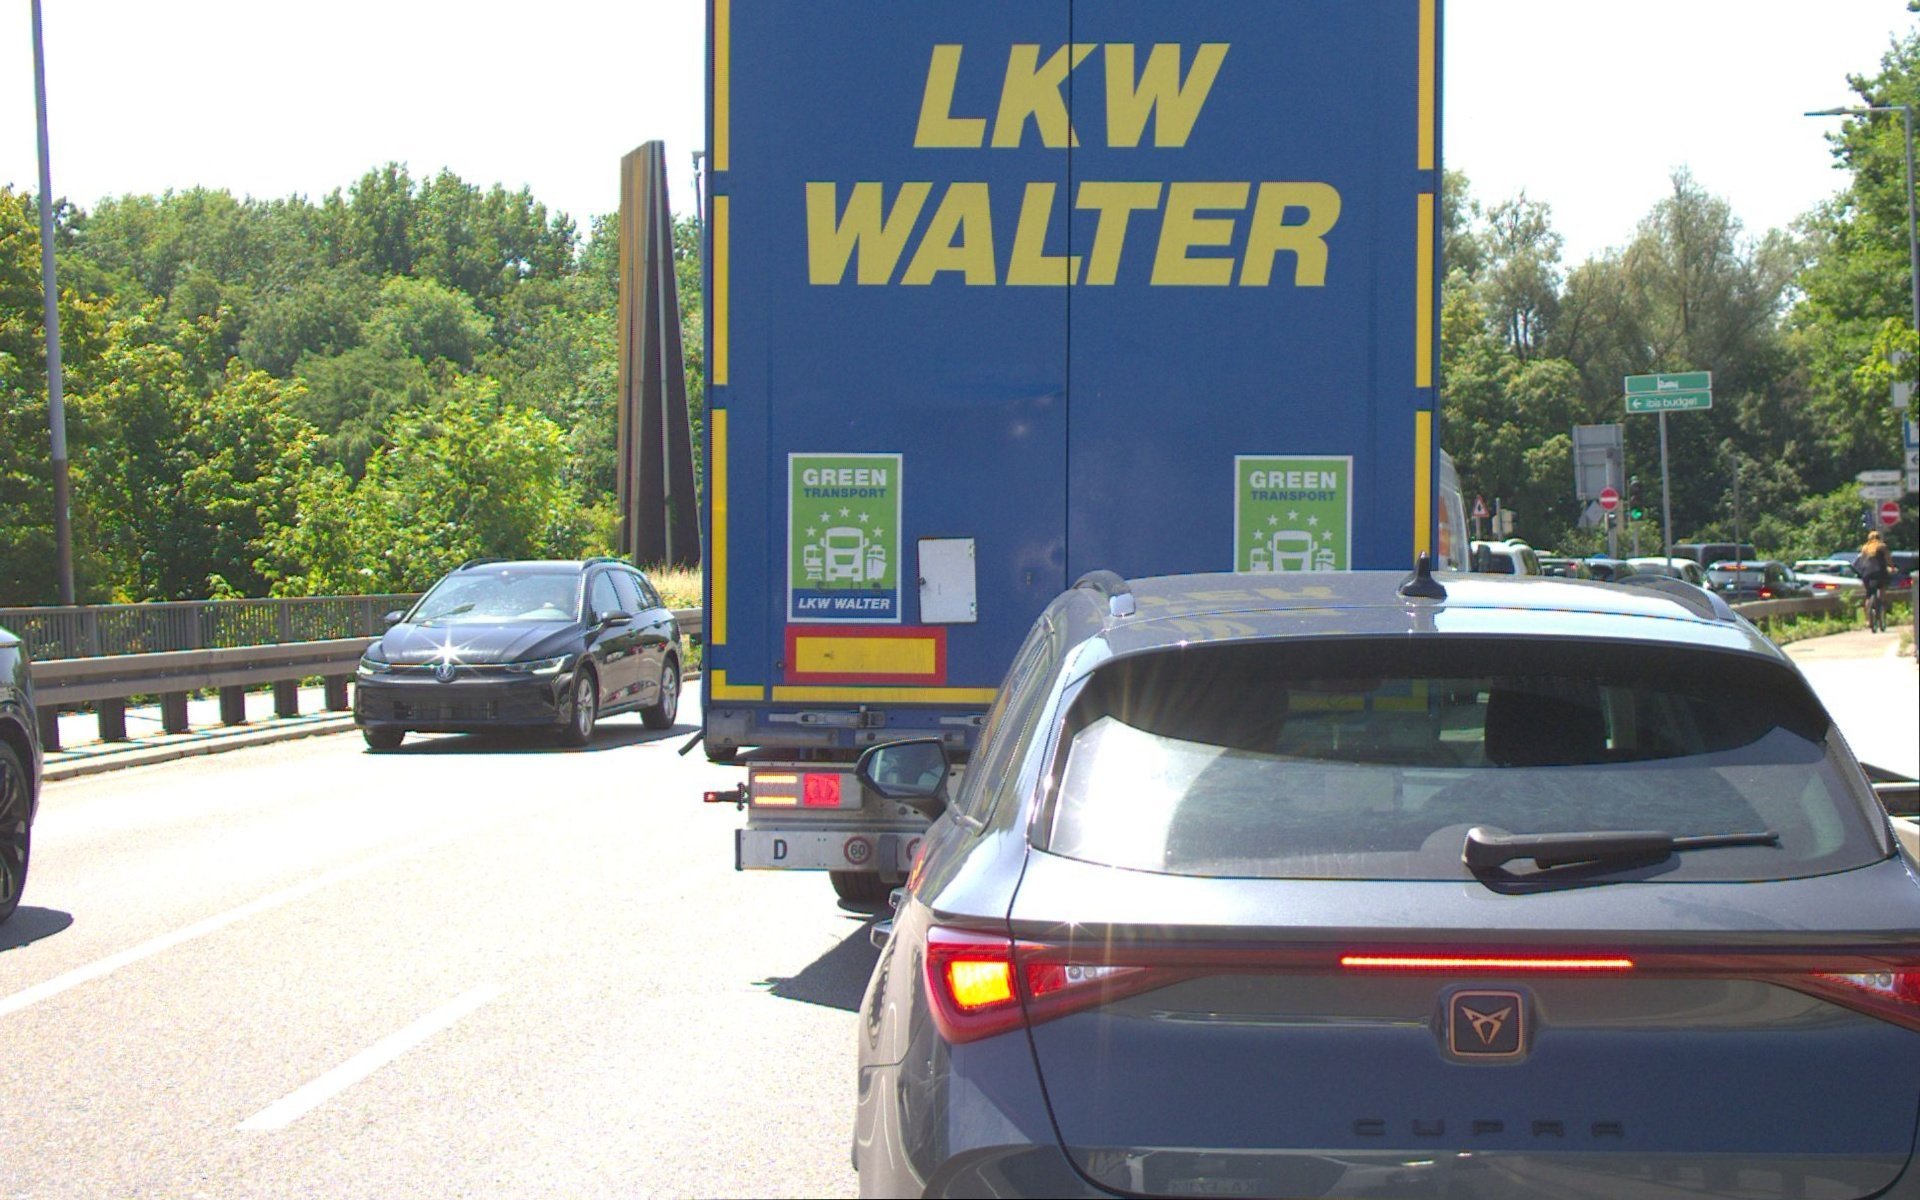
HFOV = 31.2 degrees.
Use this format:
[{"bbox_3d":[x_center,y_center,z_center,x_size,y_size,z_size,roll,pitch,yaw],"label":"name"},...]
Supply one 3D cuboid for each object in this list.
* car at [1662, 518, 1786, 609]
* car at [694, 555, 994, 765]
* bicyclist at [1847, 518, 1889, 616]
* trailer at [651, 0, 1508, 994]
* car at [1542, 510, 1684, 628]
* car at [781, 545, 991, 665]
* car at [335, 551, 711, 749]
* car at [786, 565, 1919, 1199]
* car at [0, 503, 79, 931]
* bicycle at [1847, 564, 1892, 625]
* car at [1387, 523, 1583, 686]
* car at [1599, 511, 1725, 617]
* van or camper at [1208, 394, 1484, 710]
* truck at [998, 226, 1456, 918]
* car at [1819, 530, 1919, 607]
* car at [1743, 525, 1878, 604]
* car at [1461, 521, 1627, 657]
[{"bbox_3d":[15.230,-0.706,68.405,1.687,1.754,3.995,0,0,23],"label":"car"},{"bbox_3d":[-0.800,0.394,26.035,1.677,1.406,3.974,-1,1,6],"label":"car"},{"bbox_3d":[15.837,-0.584,59.977,0.578,1.677,0.729,-3,0,9],"label":"bicyclist"},{"bbox_3d":[1.167,-1.010,17.832,2.905,4.403,12.430,0,1,7],"label":"trailer"},{"bbox_3d":[10.594,-0.532,55.614,1.722,1.837,3.996,0,1,19],"label":"car"},{"bbox_3d":[-0.882,0.029,43.507,1.600,1.444,4.053,0,1,15],"label":"car"},{"bbox_3d":[-3.460,0.343,28.089,1.711,1.464,4.458,0,1,11],"label":"car"},{"bbox_3d":[0.688,0.674,6.221,1.677,1.451,3.958,0,1,2],"label":"car"},{"bbox_3d":[-4.828,0.487,12.113,1.966,1.667,4.613,-1,1,4],"label":"car"},{"bbox_3d":[15.863,-0.102,59.985,0.582,1.032,1.484,-3,0,9],"label":"bicycle"},{"bbox_3d":[6.348,0.004,41.262,1.722,1.837,3.997,0,2,18],"label":"car"},{"bbox_3d":[12.639,-0.670,61.756,1.722,1.837,3.996,0,1,19],"label":"car"},{"bbox_3d":[3.924,-0.487,33.883,2.155,2.806,6.384,0,1,11],"label":"van or camper"},{"bbox_3d":[2.123,-0.245,25.322,2.905,4.403,6.554,0,1,7],"label":"truck"},{"bbox_3d":[21.494,-0.720,80.602,1.688,1.754,3.994,0,0,28],"label":"car"},{"bbox_3d":[18.503,-0.758,74.690,1.996,1.570,3.994,2,0,26],"label":"car"},{"bbox_3d":[8.121,-0.193,47.576,1.722,1.796,3.997,0,1,18],"label":"car"}]
